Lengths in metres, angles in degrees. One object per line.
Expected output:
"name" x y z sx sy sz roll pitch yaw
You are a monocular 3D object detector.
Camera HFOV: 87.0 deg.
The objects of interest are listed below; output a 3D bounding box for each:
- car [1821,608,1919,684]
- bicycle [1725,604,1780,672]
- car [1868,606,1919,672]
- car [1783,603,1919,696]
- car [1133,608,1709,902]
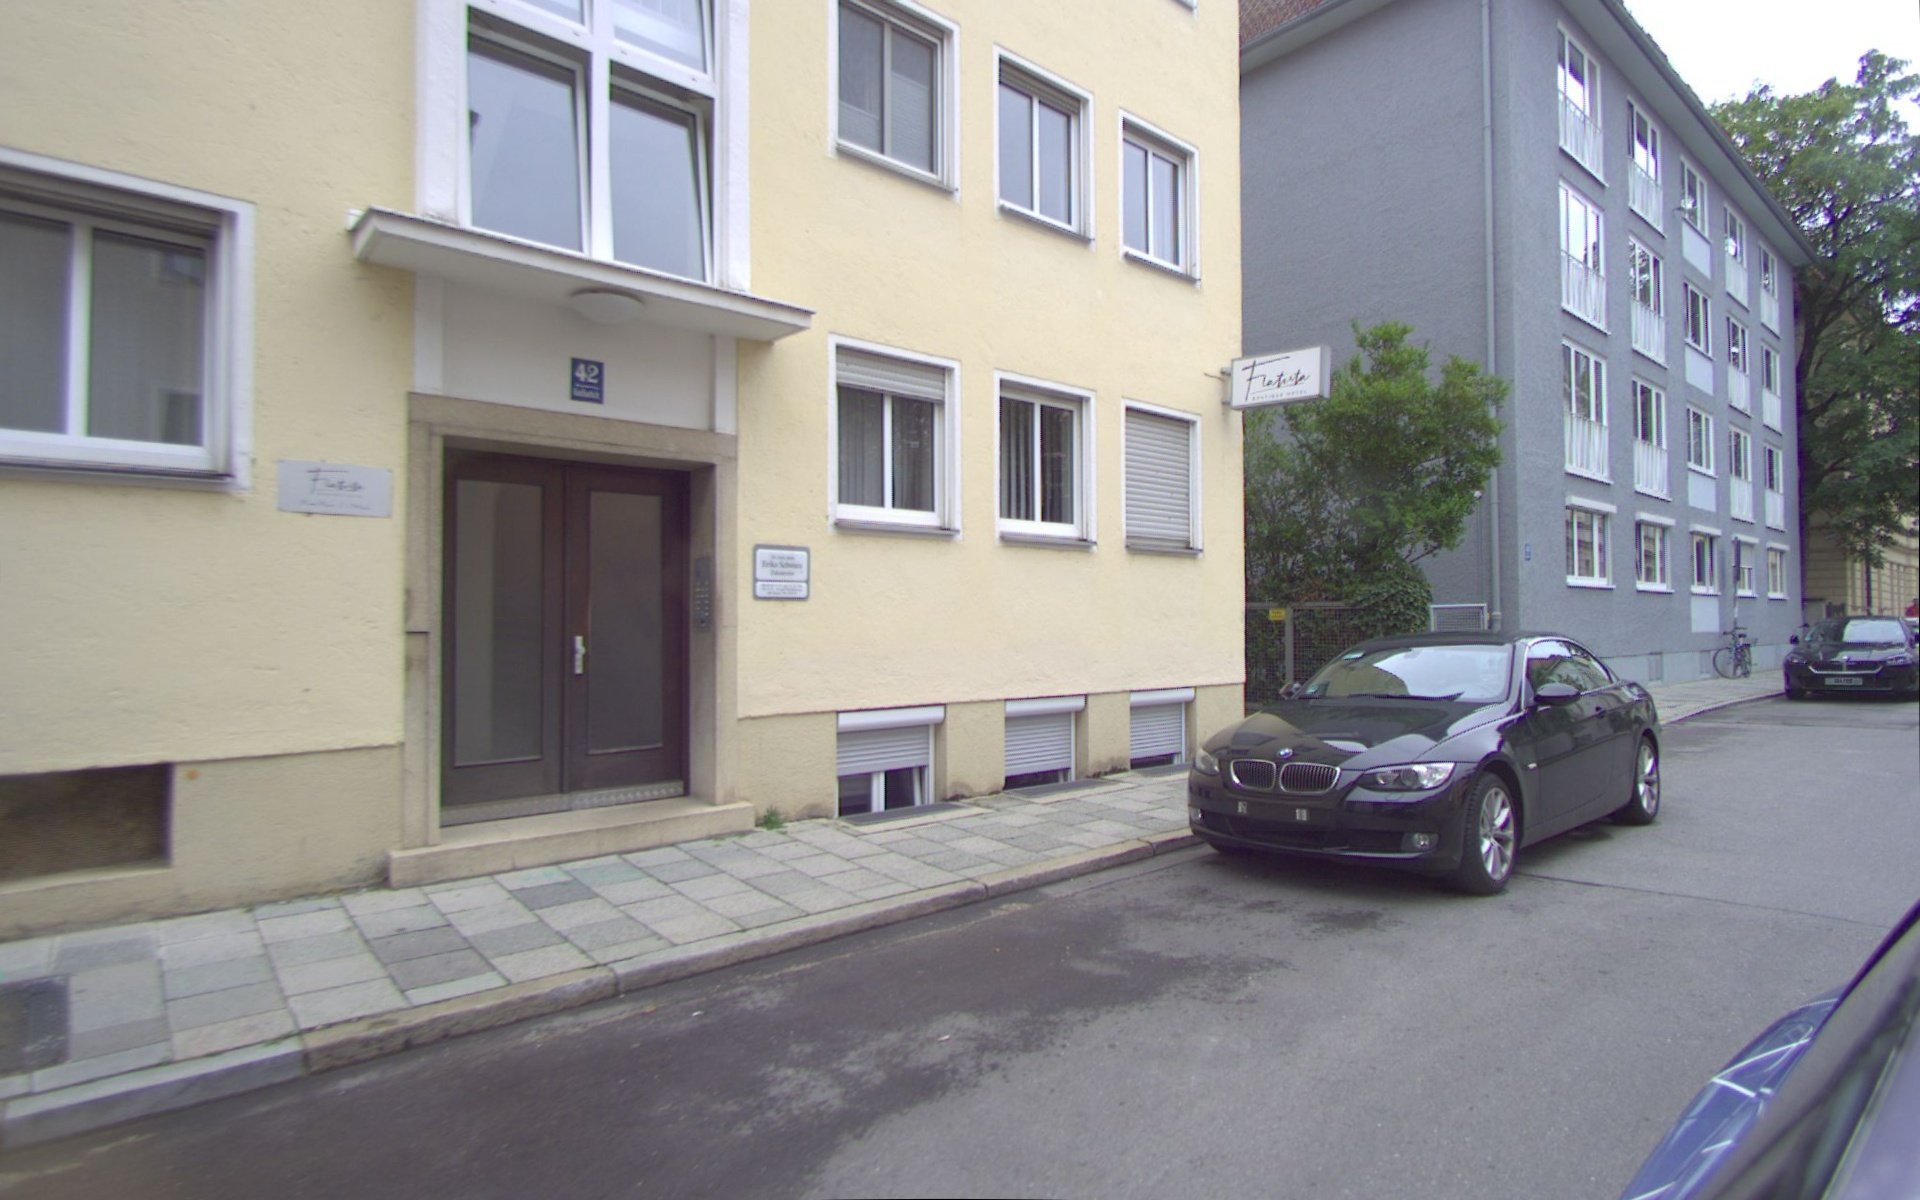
"car" 19.777 0.911 21.227 4.405 1.420 1.792 0 -5 -40
"bicycle" 18.245 0.846 23.277 2.239 1.506 0.515 0 -2 -40
"car" 23.583 0.881 24.427 4.267 1.465 1.771 0 -5 -40
"car" 16.272 0.851 18.024 4.191 1.447 1.842 1 -5 -43
"car" 3.334 0.801 6.869 4.430 1.352 1.827 0 -5 -41
